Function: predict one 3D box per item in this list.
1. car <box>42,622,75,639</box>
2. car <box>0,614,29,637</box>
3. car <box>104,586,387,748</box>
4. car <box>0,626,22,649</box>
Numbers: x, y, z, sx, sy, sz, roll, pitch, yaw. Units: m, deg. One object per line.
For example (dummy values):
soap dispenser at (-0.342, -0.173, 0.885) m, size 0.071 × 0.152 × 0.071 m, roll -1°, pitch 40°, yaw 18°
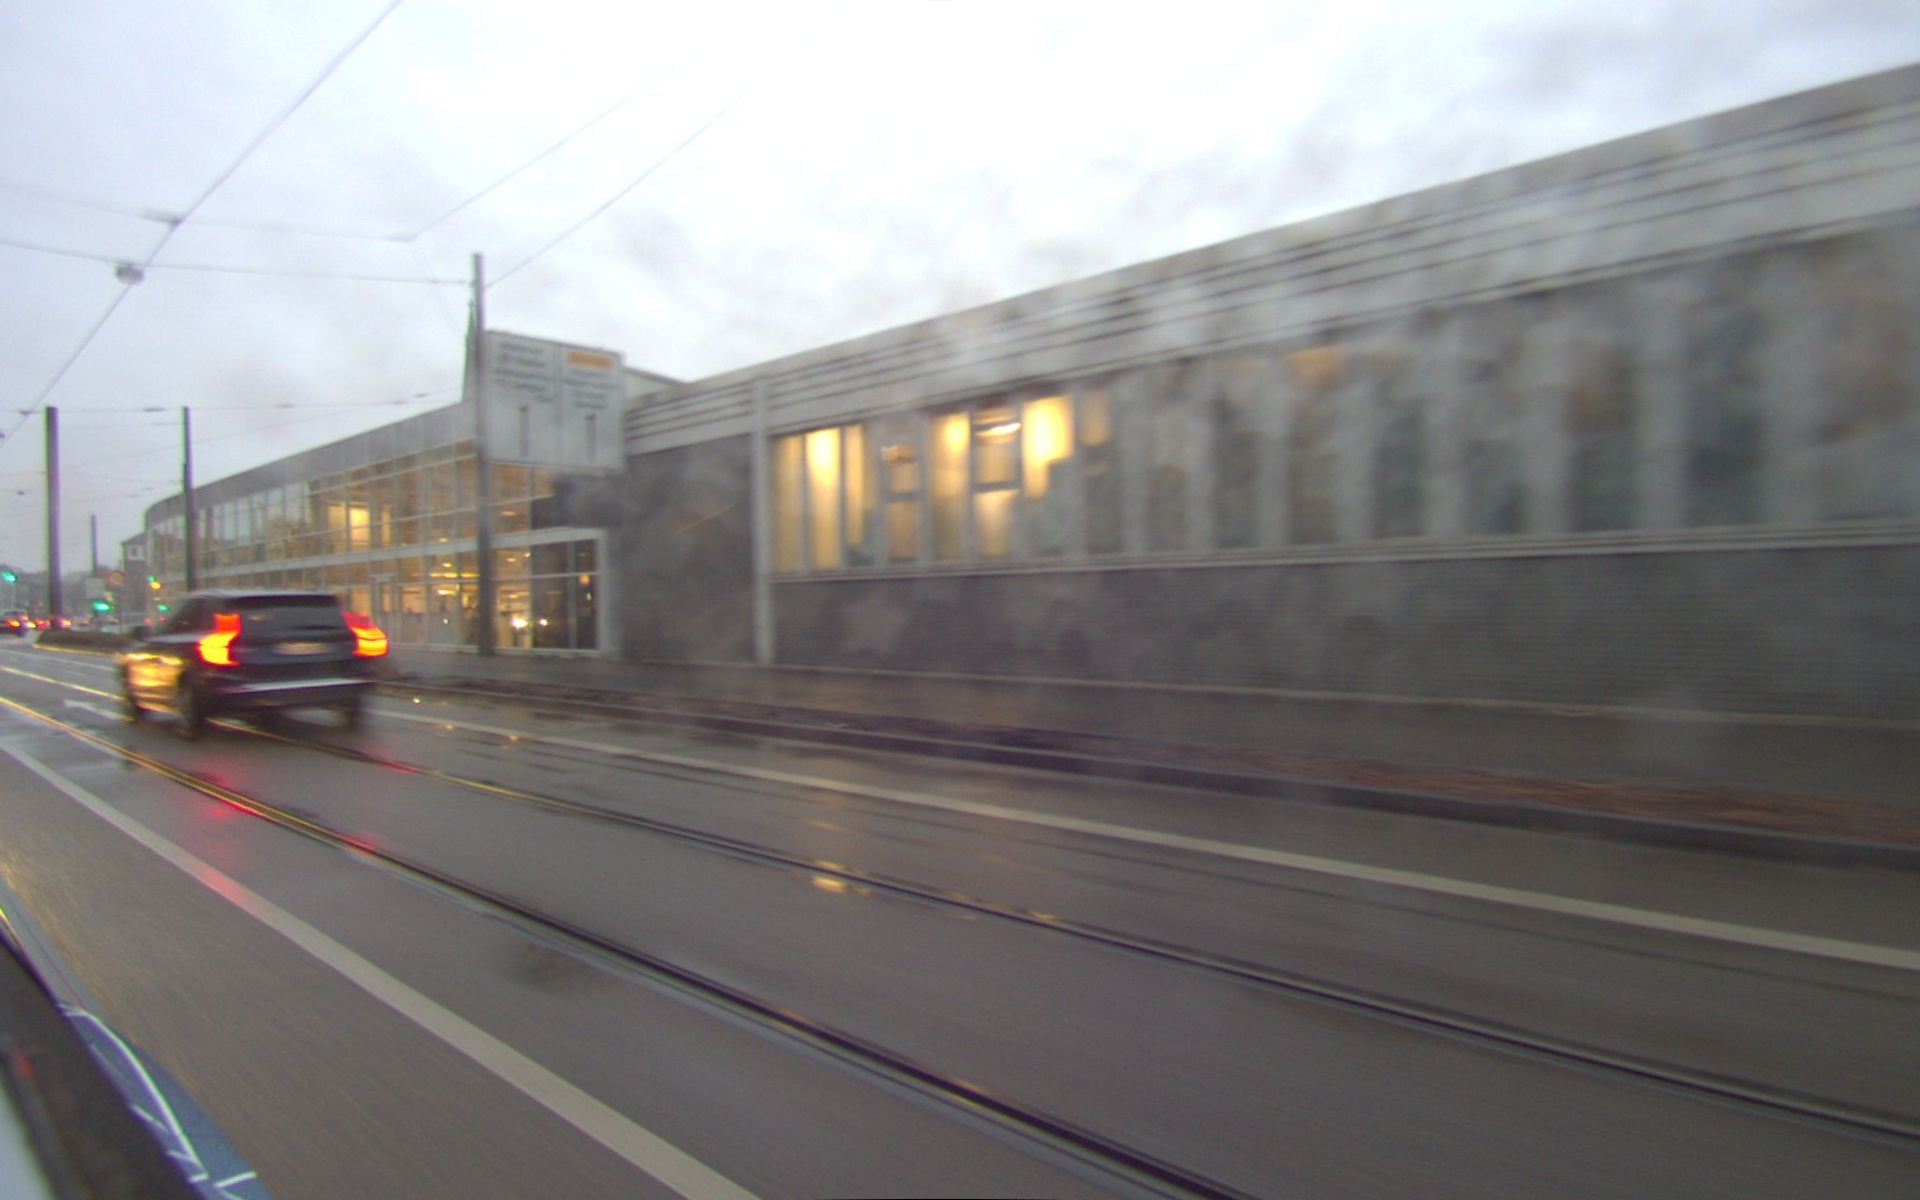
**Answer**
car at (-84.188, 2.851, 94.482) m, size 4.589 × 1.432 × 1.971 m, roll -1°, pitch 0°, yaw 44°
car at (-85.844, 2.282, 91.637) m, size 4.687 × 2.029 × 1.971 m, roll -1°, pitch 1°, yaw 45°
car at (-9.293, 0.761, 13.006) m, size 4.757 × 1.723 × 1.856 m, roll -1°, pitch -1°, yaw 40°
car at (-71.005, 2.757, 75.034) m, size 4.442 × 1.590 × 1.821 m, roll -1°, pitch -1°, yaw 43°
